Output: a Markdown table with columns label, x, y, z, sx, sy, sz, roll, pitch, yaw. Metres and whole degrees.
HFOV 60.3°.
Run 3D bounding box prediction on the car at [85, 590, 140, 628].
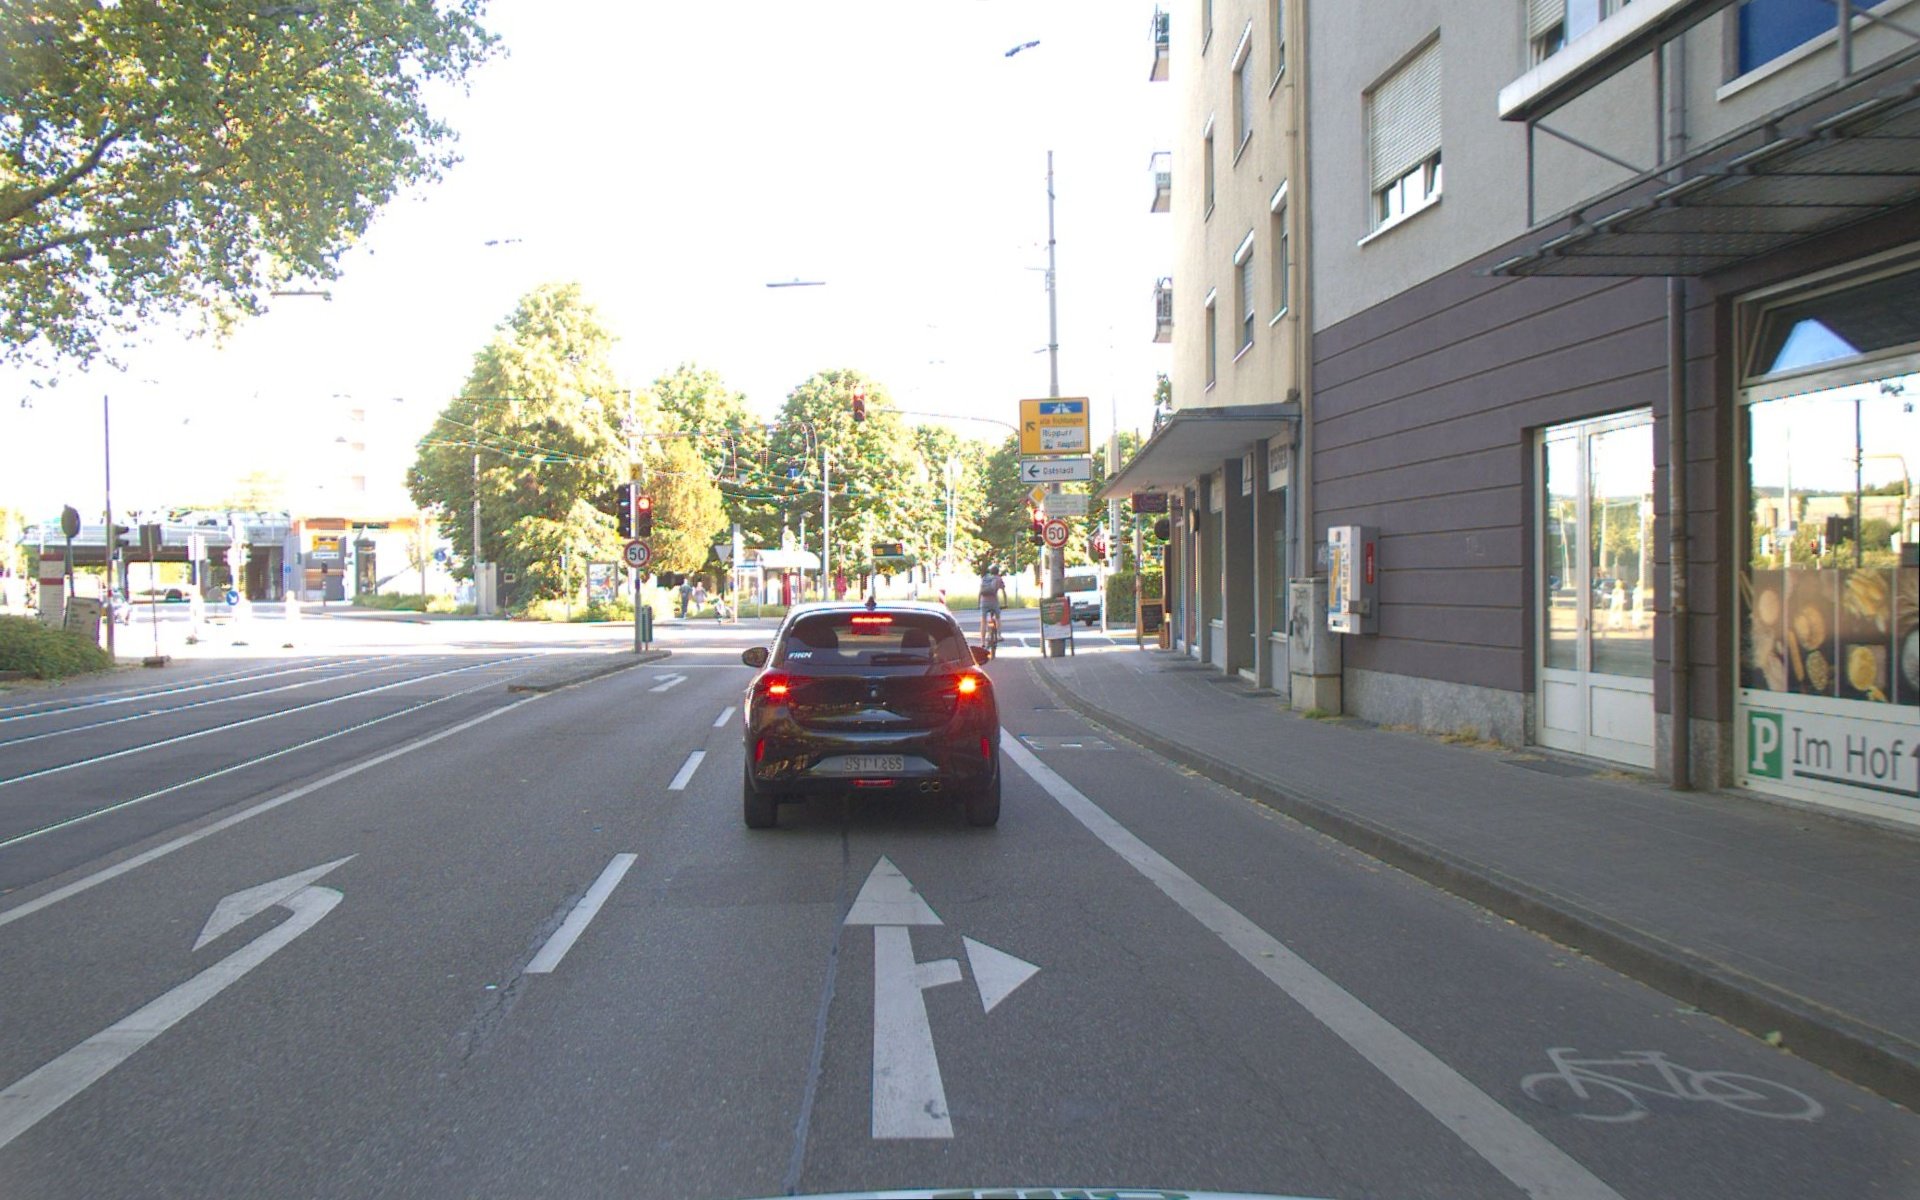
| label | x | y | z | sx | sy | sz | roll | pitch | yaw |
| --- | --- | --- | --- | --- | --- | --- | --- | --- | --- |
| car | -36.258 | 0.373 | 70.843 | 1.800 | 1.545 | 3.867 | 1 | 0 | -23 |

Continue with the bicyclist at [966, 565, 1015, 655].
| label | x | y | z | sx | sy | sz | roll | pitch | yaw |
| --- | --- | --- | --- | --- | --- | --- | --- | --- | --- |
| bicyclist | 0.644 | 0.200 | 35.307 | 0.923 | 1.883 | 0.863 | -1 | 0 | -4 |

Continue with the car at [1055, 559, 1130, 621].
| label | x | y | z | sx | sy | sz | roll | pitch | yaw |
| --- | --- | --- | --- | --- | --- | --- | --- | --- | --- |
| car | 5.205 | -0.423 | 64.431 | 2.020 | 2.288 | 4.891 | -1 | 1 | 15 |

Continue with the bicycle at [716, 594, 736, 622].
| label | x | y | z | sx | sy | sz | roll | pitch | yaw |
| --- | --- | --- | --- | --- | --- | --- | --- | --- | --- |
| bicycle | -9.003 | 0.298 | 63.648 | 0.593 | 1.049 | 1.981 | -1 | 1 | -3 |

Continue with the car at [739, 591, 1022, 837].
| label | x | y | z | sx | sy | sz | roll | pitch | yaw |
| --- | --- | --- | --- | --- | --- | --- | --- | --- | --- |
| car | -0.576 | 0.670 | 12.038 | 1.692 | 1.454 | 4.185 | 0 | 0 | -3 |

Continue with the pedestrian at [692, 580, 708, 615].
| label | x | y | z | sx | sy | sz | roll | pitch | yaw |
| --- | --- | --- | --- | --- | --- | --- | --- | --- | --- |
| pedestrian | -12.376 | -0.114 | 78.843 | 0.623 | 1.658 | 0.572 | 1 | 0 | 4 |

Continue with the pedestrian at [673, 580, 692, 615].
| label | x | y | z | sx | sy | sz | roll | pitch | yaw |
| --- | --- | --- | --- | --- | --- | --- | --- | --- | --- |
| pedestrian | -13.219 | -0.128 | 78.746 | 0.735 | 1.658 | 0.598 | 1 | 0 | 4 |

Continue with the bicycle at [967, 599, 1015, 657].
| label | x | y | z | sx | sy | sz | roll | pitch | yaw |
| --- | --- | --- | --- | --- | --- | --- | --- | --- | --- |
| bicycle | 0.651 | 0.580 | 35.356 | 0.843 | 1.173 | 2.170 | -1 | 1 | -3 |

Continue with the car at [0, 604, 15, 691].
| label | x | y | z | sx | sy | sz | roll | pitch | yaw |
| --- | --- | --- | --- | --- | --- | --- | --- | --- | --- |
| car | -18.404 | 0.798 | 27.435 | 4.423 | 1.454 | 1.675 | 0 | 0 | -4 |
